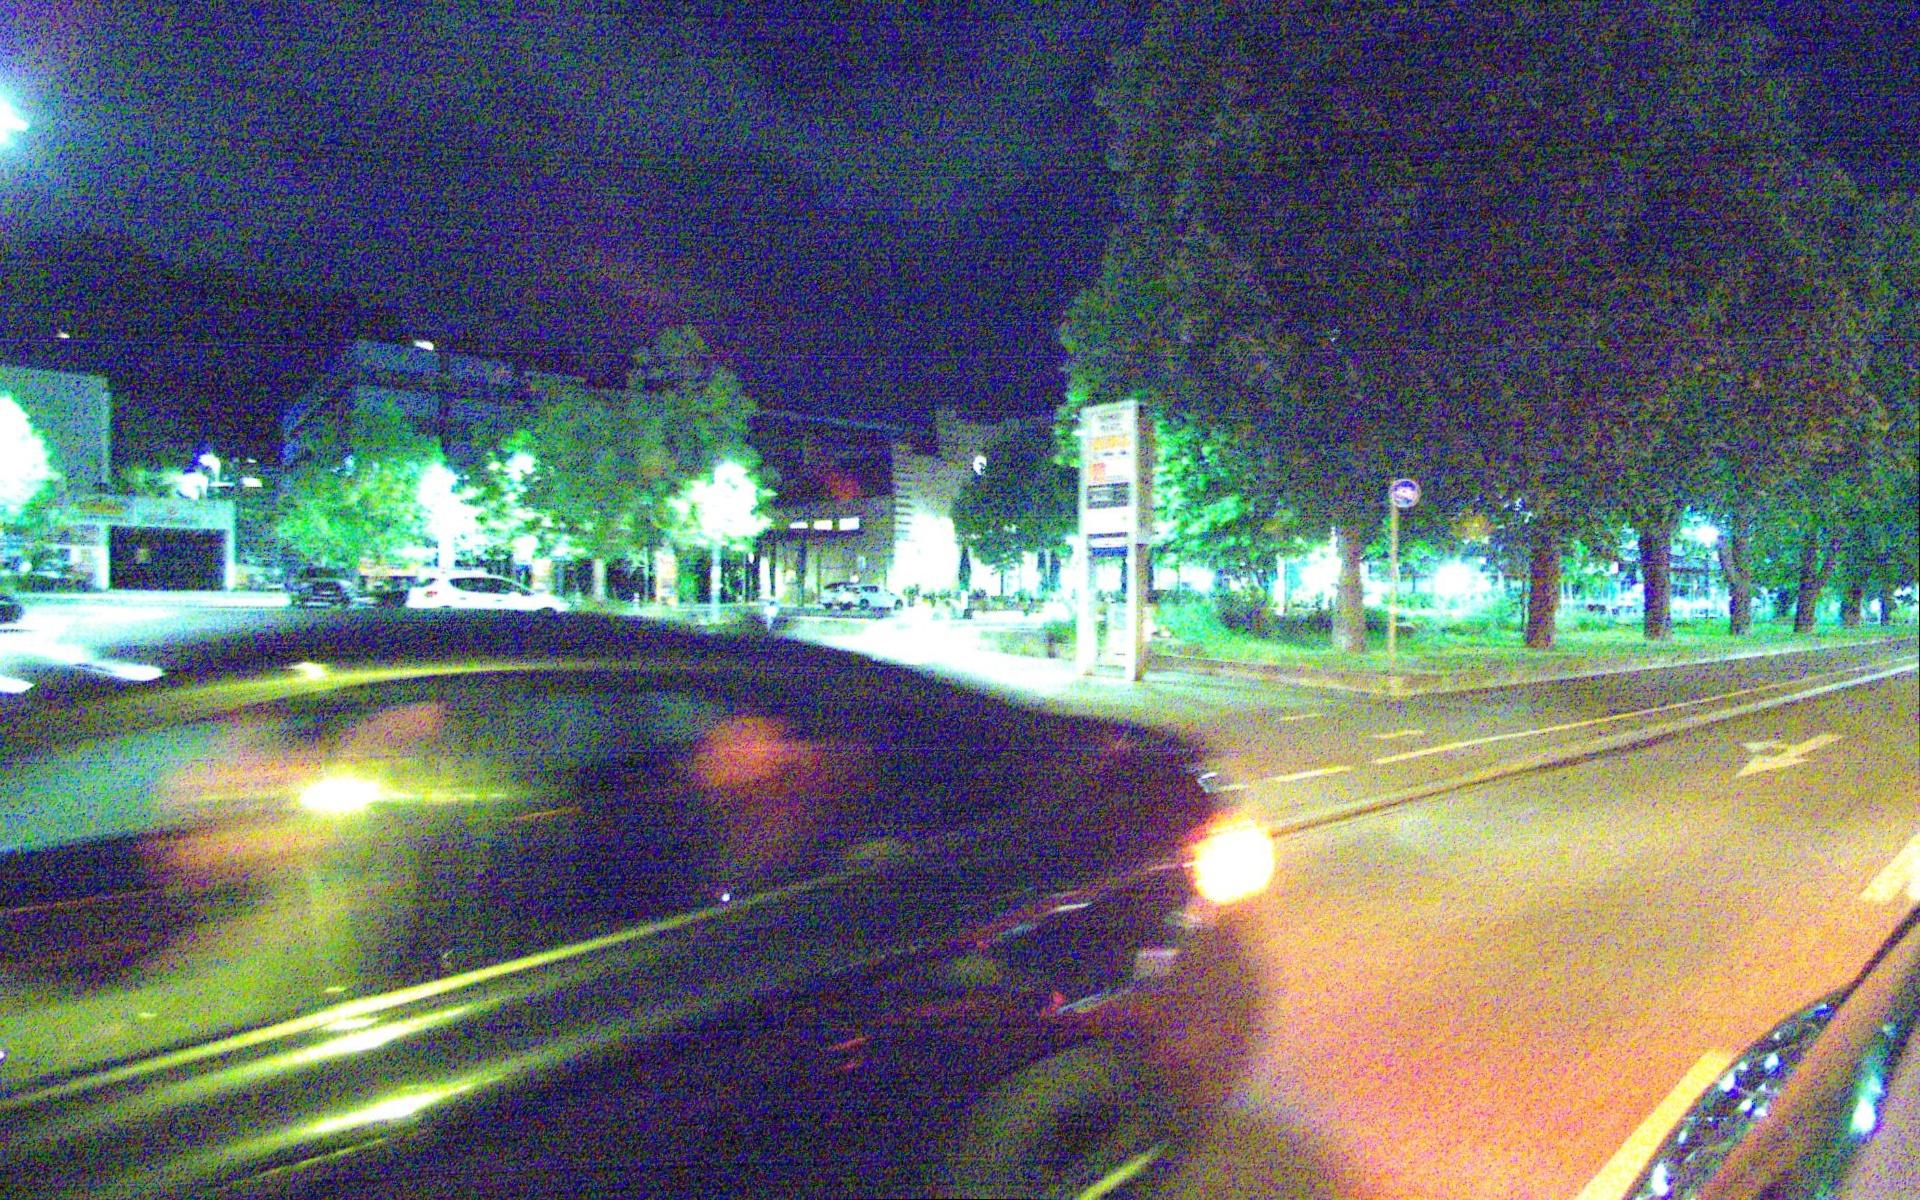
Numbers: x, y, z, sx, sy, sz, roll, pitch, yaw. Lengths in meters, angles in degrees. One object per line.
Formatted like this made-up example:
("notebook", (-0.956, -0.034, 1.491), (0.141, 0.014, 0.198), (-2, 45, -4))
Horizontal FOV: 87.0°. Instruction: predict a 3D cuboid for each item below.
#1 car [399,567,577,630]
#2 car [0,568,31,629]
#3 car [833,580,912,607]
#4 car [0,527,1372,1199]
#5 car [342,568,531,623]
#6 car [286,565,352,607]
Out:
("car", (-12.661, -0.050, 27.262), (4.026, 1.552, 1.772), (0, 1, -40))
("car", (-24.471, -0.058, 23.519), (4.166, 1.446, 1.997), (0, 1, -41))
("car", (-5.067, -0.366, 59.084), (4.225, 1.527, 1.997), (1, 1, -41))
("car", (-1.334, 0.705, 1.752), (4.645, 1.513, 1.808), (0, -1, -40))
("car", (-15.864, -0.144, 30.815), (4.807, 1.531, 1.892), (0, 1, -42))
("car", (-28.526, -0.636, 44.951), (2.041, 1.787, 4.549), (1, 1, -38))
